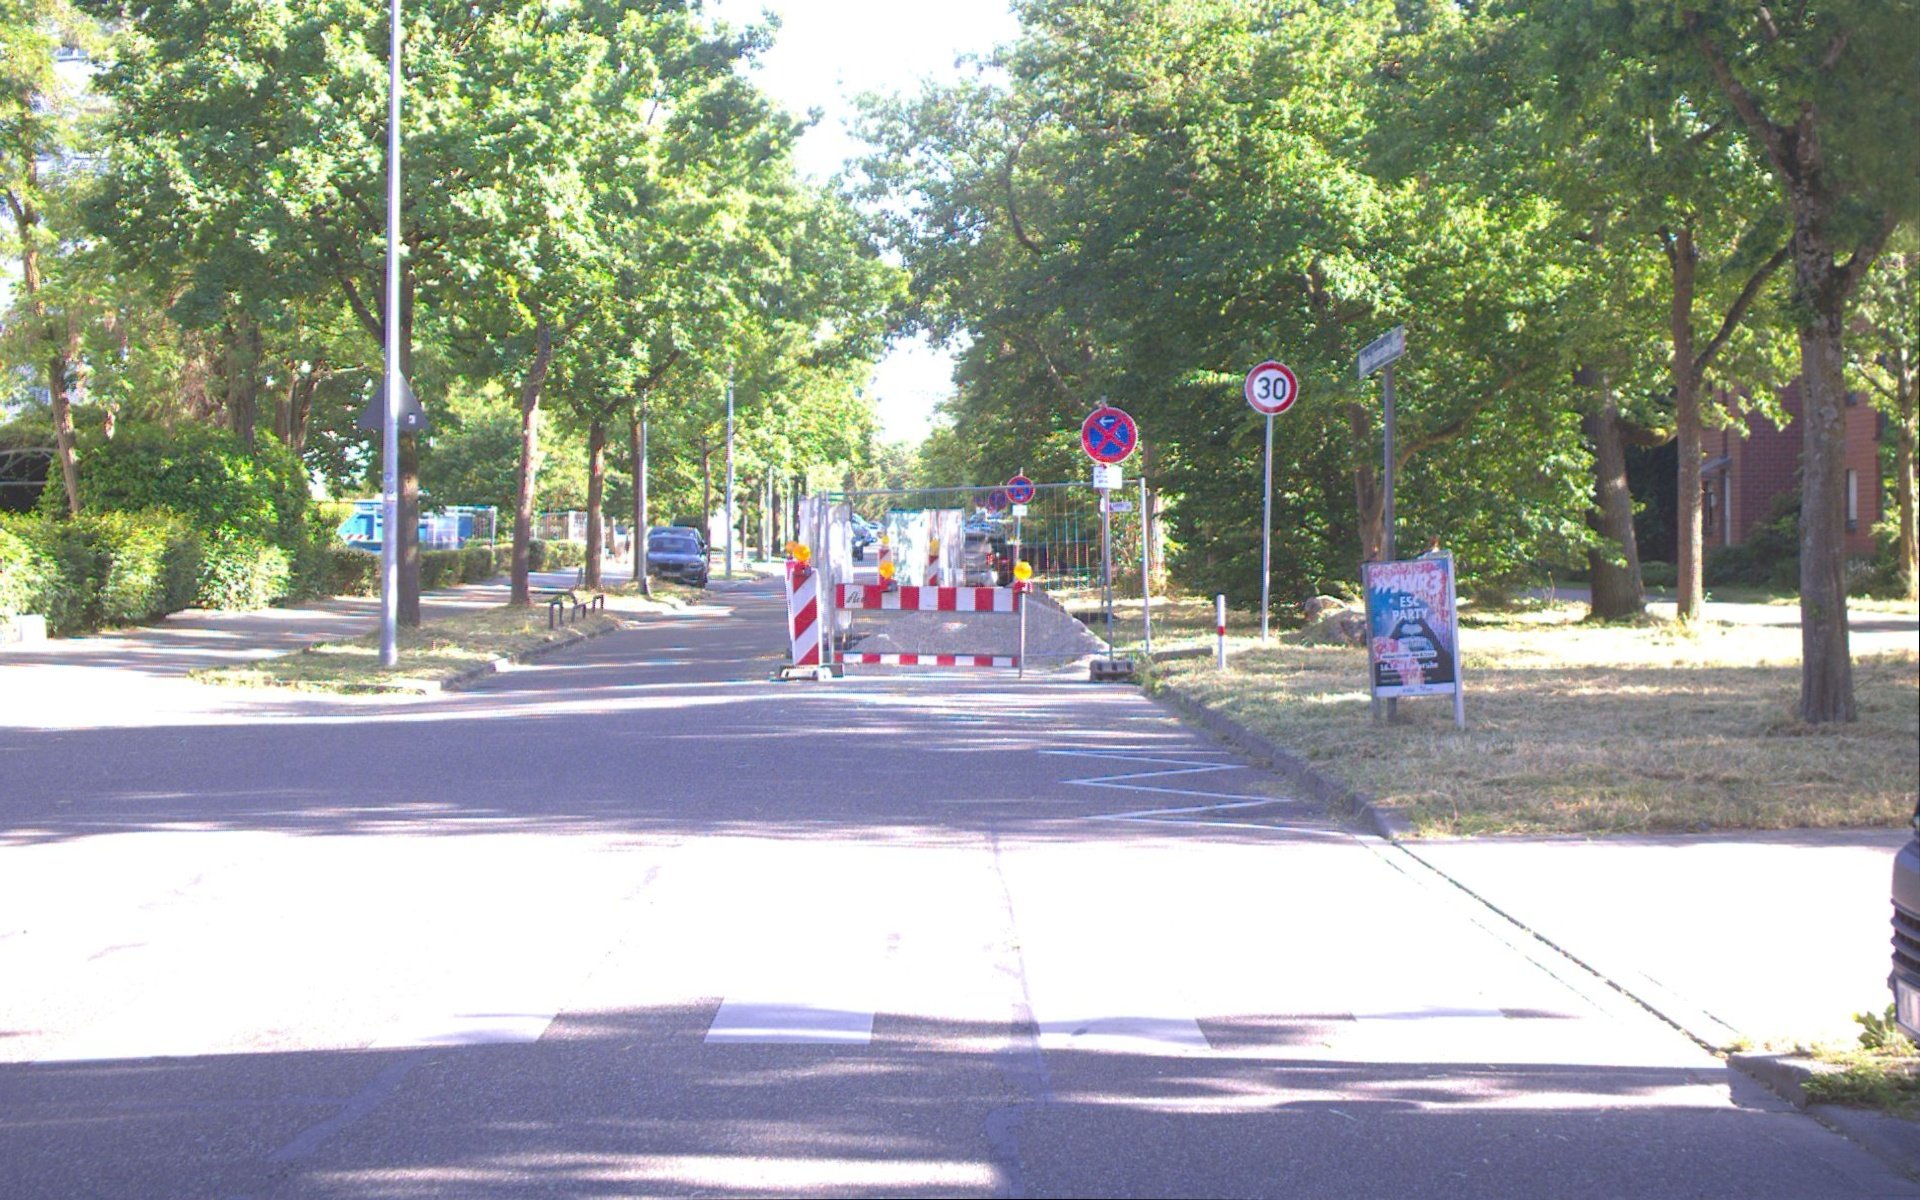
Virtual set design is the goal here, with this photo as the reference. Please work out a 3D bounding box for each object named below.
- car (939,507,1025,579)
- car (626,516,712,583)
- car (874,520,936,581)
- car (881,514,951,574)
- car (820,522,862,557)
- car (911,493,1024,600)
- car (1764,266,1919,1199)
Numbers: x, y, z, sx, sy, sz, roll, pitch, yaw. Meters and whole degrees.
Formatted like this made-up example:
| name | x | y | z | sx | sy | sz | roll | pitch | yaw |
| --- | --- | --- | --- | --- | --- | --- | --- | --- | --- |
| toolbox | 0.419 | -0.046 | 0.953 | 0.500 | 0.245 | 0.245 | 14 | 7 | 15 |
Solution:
| name | x | y | z | sx | sy | sz | roll | pitch | yaw |
| --- | --- | --- | --- | --- | --- | --- | --- | --- | --- |
| car | 0.525 | -1.403 | 84.762 | 1.993 | 1.711 | 4.000 | 1 | 1 | -1 |
| car | -7.671 | -1.355 | 90.851 | 1.993 | 1.711 | 4.000 | 1 | 1 | -1 |
| car | -1.845 | -1.654 | 114.327 | 1.993 | 1.962 | 4.000 | 1 | 1 | -1 |
| car | -1.294 | -1.643 | 100.509 | 1.993 | 1.711 | 4.000 | 1 | 1 | -1 |
| car | -5.804 | -2.956 | 168.424 | 1.993 | 1.711 | 4.000 | 0 | 1 | -1 |
| car | 0.108 | -1.003 | 64.056 | 1.993 | 1.926 | 4.000 | 1 | 1 | -1 |
| car | 4.732 | 0.276 | 8.017 | 5.187 | 2.098 | 2.083 | -1 | 1 | -2 |
